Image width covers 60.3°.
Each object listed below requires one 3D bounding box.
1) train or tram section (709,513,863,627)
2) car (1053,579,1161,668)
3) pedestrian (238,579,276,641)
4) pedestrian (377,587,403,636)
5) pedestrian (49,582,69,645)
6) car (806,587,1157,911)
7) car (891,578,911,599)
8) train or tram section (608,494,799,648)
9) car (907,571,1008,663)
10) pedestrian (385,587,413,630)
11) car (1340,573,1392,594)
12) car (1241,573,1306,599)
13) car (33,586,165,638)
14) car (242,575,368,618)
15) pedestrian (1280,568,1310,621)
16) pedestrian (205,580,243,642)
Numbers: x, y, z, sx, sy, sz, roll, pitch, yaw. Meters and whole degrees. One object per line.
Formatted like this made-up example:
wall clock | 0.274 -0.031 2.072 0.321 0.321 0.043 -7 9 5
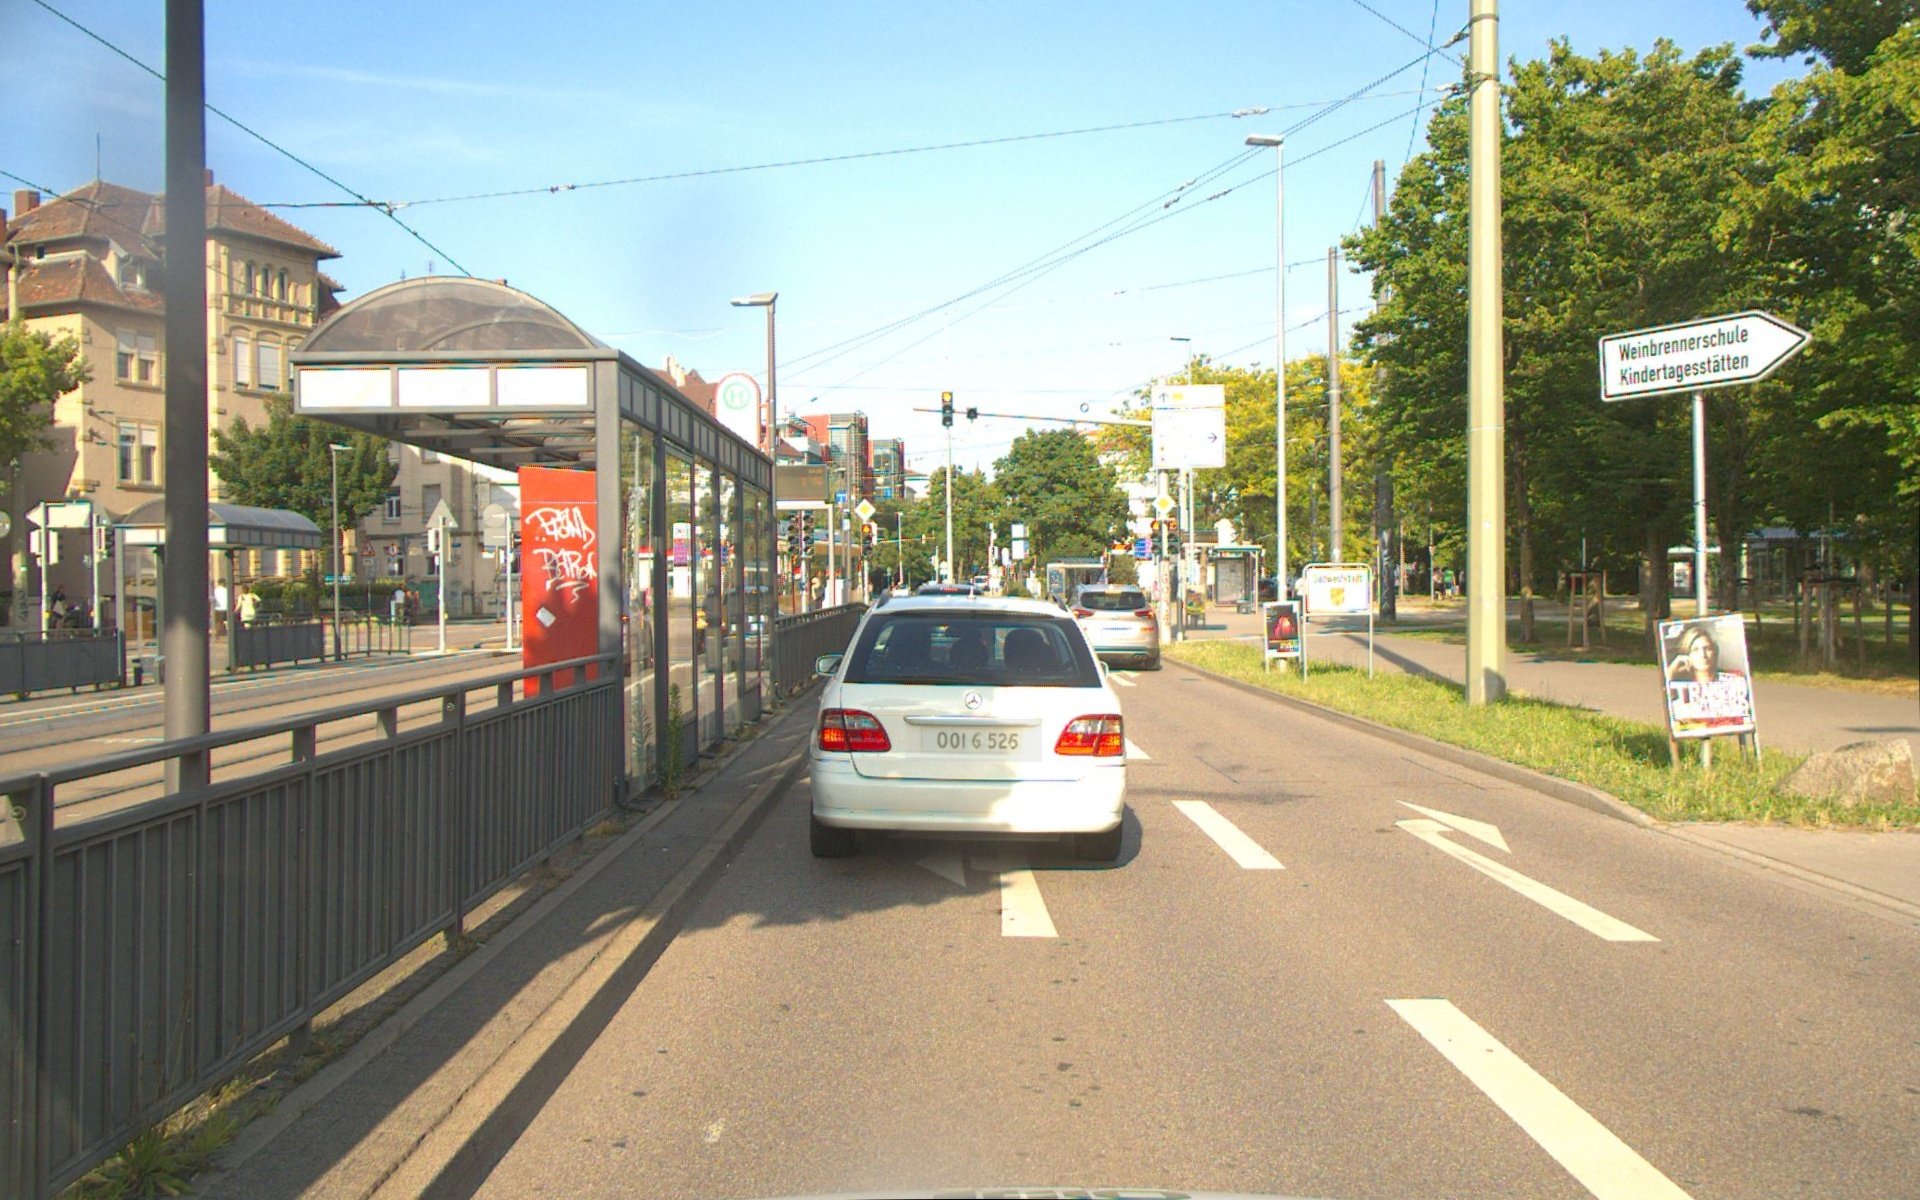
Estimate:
train or tram section | -5.768 -1.034 57.698 2.789 3.540 13.209 0 1 5
car | 2.860 0.412 32.845 1.990 1.633 4.002 0 1 3
pedestrian | -20.537 0.290 48.311 0.871 1.783 0.744 0 1 -12
pedestrian | -20.886 0.413 60.602 0.651 1.783 0.746 0 1 3
pedestrian | -29.561 0.440 54.275 0.374 2.049 0.408 0 1 18
car | 0.071 0.726 10.250 1.722 1.529 3.999 -1 1 -1
car | -6.083 -1.211 171.218 1.953 2.049 3.999 -1 1 -1
train or tram section | -6.563 -0.791 44.765 2.790 3.540 13.203 0 1 1
car | 0.017 0.282 32.869 1.750 1.719 4.002 0 1 4
pedestrian | -23.046 0.345 67.974 0.868 1.783 0.746 0 1 3
car | 34.410 -1.433 140.086 3.940 1.680 1.982 -1 0 -28
car | 21.307 -0.957 112.408 3.907 1.680 1.999 -1 0 25
car | -30.677 0.398 58.966 3.903 1.780 2.001 0 1 17
car | -26.694 -0.175 67.574 2.159 1.656 4.716 0 1 22
pedestrian | 10.661 -0.176 52.632 0.867 1.681 0.746 0 1 7
pedestrian | -21.417 0.308 48.132 0.871 1.783 0.744 0 1 -12
